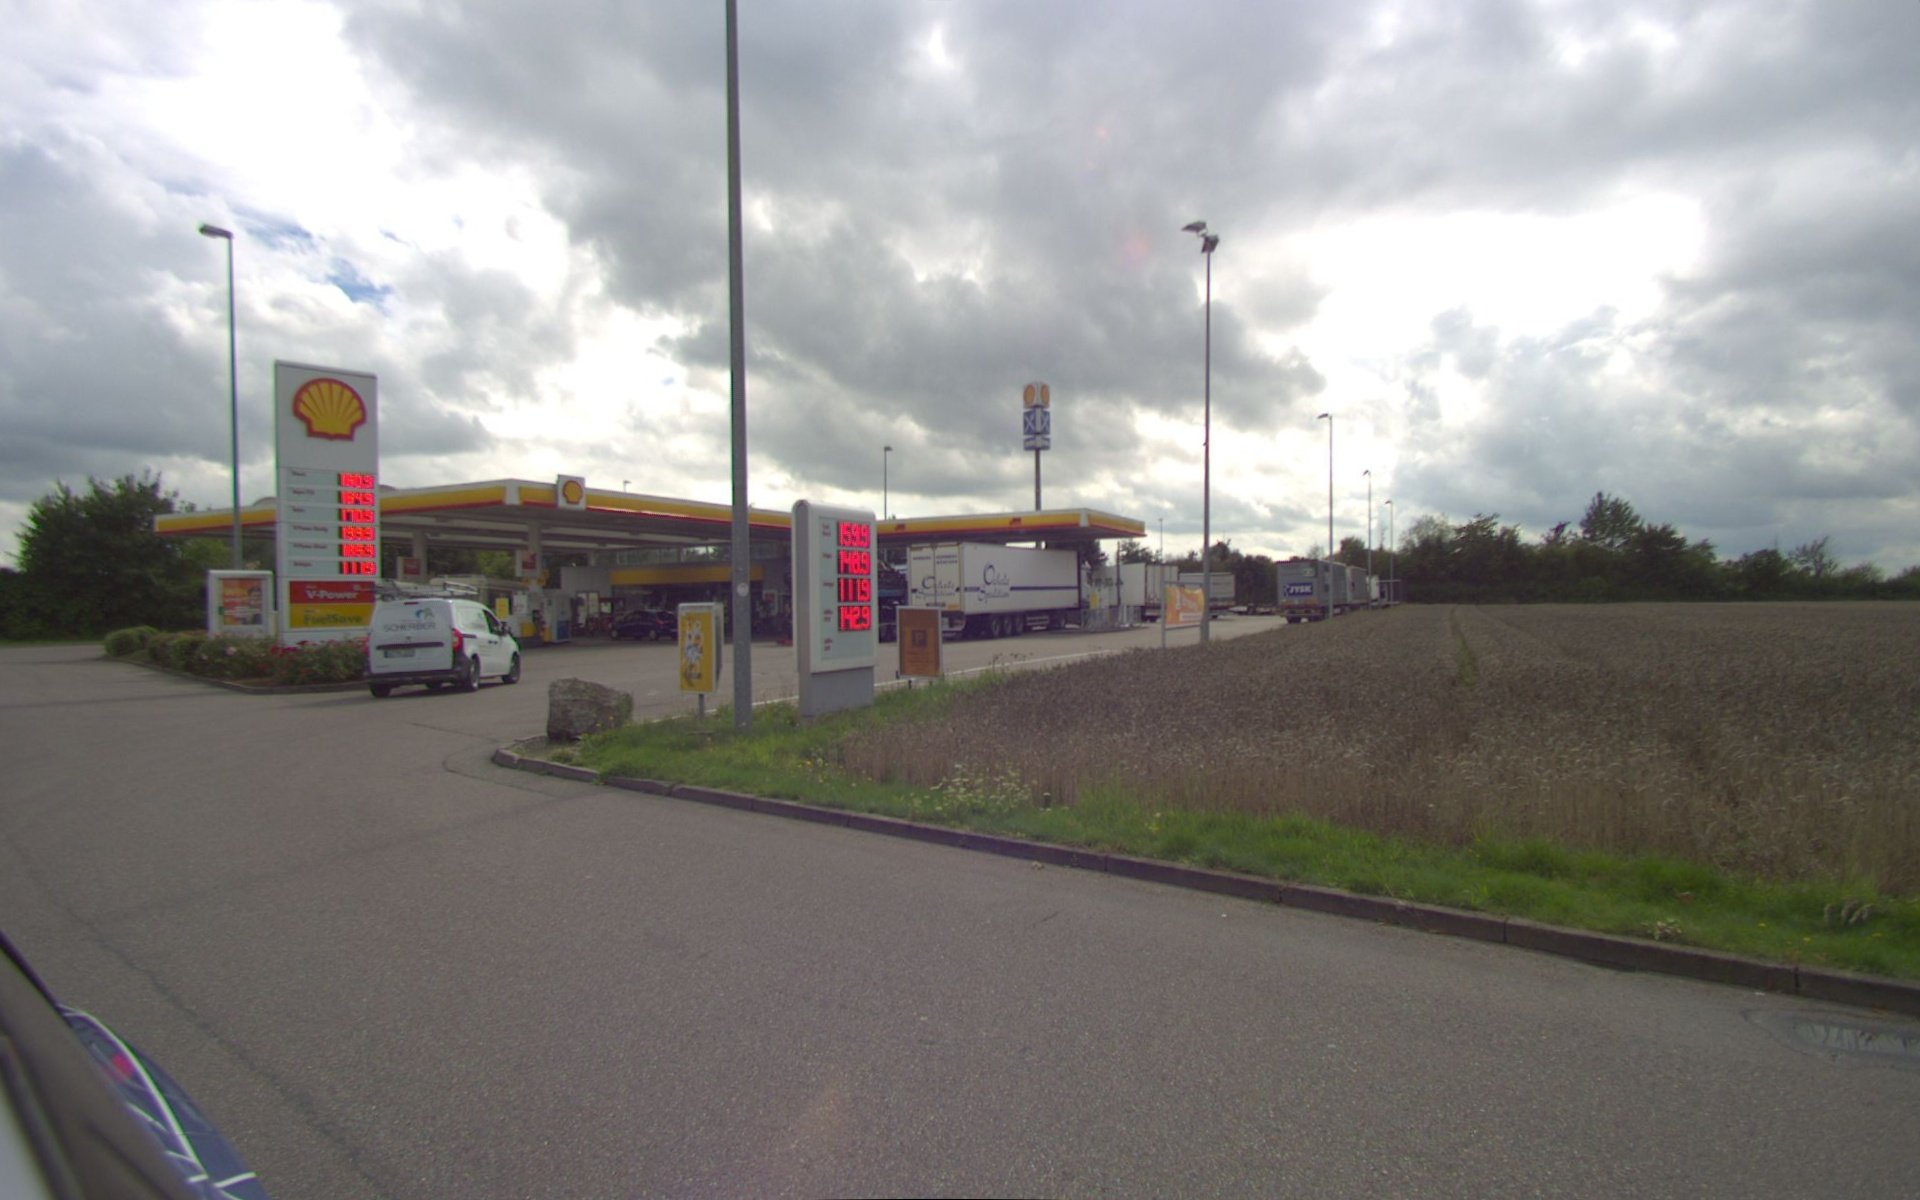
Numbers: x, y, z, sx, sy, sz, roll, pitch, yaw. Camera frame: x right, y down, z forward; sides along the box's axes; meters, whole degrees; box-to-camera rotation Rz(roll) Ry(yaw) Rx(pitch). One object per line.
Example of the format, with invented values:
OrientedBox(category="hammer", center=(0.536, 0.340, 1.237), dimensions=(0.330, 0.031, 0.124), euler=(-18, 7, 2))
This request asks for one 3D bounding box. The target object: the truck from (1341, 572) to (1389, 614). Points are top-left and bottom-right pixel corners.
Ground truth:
OrientedBox(category="truck", center=(40.720, -0.679, 101.475), dimensions=(2.812, 3.923, 12.681), euler=(0, 0, 29))

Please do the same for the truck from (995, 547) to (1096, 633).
OrientedBox(category="truck", center=(4.532, -0.470, 52.244), dimensions=(2.699, 4.055, 7.104), euler=(-2, -1, 27))

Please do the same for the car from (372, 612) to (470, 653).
OrientedBox(category="car", center=(-22.324, 1.300, 42.113), dimensions=(1.972, 1.571, 3.961), euler=(-2, -1, 0))

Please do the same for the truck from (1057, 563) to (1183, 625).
OrientedBox(category="truck", center=(11.563, -0.396, 75.711), dimensions=(2.912, 4.143, 14.795), euler=(0, 0, -18))

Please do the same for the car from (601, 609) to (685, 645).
OrientedBox(category="car", center=(-15.211, 1.313, 48.543), dimensions=(3.741, 1.613, 1.701), euler=(-2, -1, 26))

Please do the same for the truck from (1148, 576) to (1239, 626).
OrientedBox(category="truck", center=(20.976, 0.162, 91.902), dimensions=(2.944, 4.142, 11.605), euler=(-1, -1, -14))

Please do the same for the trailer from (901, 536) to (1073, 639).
OrientedBox(category="trailer", center=(1.679, -0.490, 46.493), dimensions=(2.699, 4.055, 12.731), euler=(-2, -1, 27))

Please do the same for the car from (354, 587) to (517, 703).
OrientedBox(category="car", center=(-10.258, 0.833, 20.099), dimensions=(1.767, 2.027, 3.889), euler=(-1, -1, -10))

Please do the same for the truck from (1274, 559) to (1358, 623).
OrientedBox(category="truck", center=(24.562, -0.584, 69.105), dimensions=(2.812, 3.923, 15.307), euler=(0, 0, 29))

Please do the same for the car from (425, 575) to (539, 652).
OrientedBox(category="car", center=(-18.888, 0.543, 40.346), dimensions=(2.191, 2.808, 5.815), euler=(-1, -1, -5))

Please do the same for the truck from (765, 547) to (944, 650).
OrientedBox(category="truck", center=(-4.223, -0.072, 45.565), dimensions=(2.731, 3.953, 13.174), euler=(0, 0, 19))

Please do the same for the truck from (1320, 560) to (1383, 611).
OrientedBox(category="truck", center=(33.192, -1.098, 85.322), dimensions=(2.812, 3.923, 15.307), euler=(0, 0, 29))
